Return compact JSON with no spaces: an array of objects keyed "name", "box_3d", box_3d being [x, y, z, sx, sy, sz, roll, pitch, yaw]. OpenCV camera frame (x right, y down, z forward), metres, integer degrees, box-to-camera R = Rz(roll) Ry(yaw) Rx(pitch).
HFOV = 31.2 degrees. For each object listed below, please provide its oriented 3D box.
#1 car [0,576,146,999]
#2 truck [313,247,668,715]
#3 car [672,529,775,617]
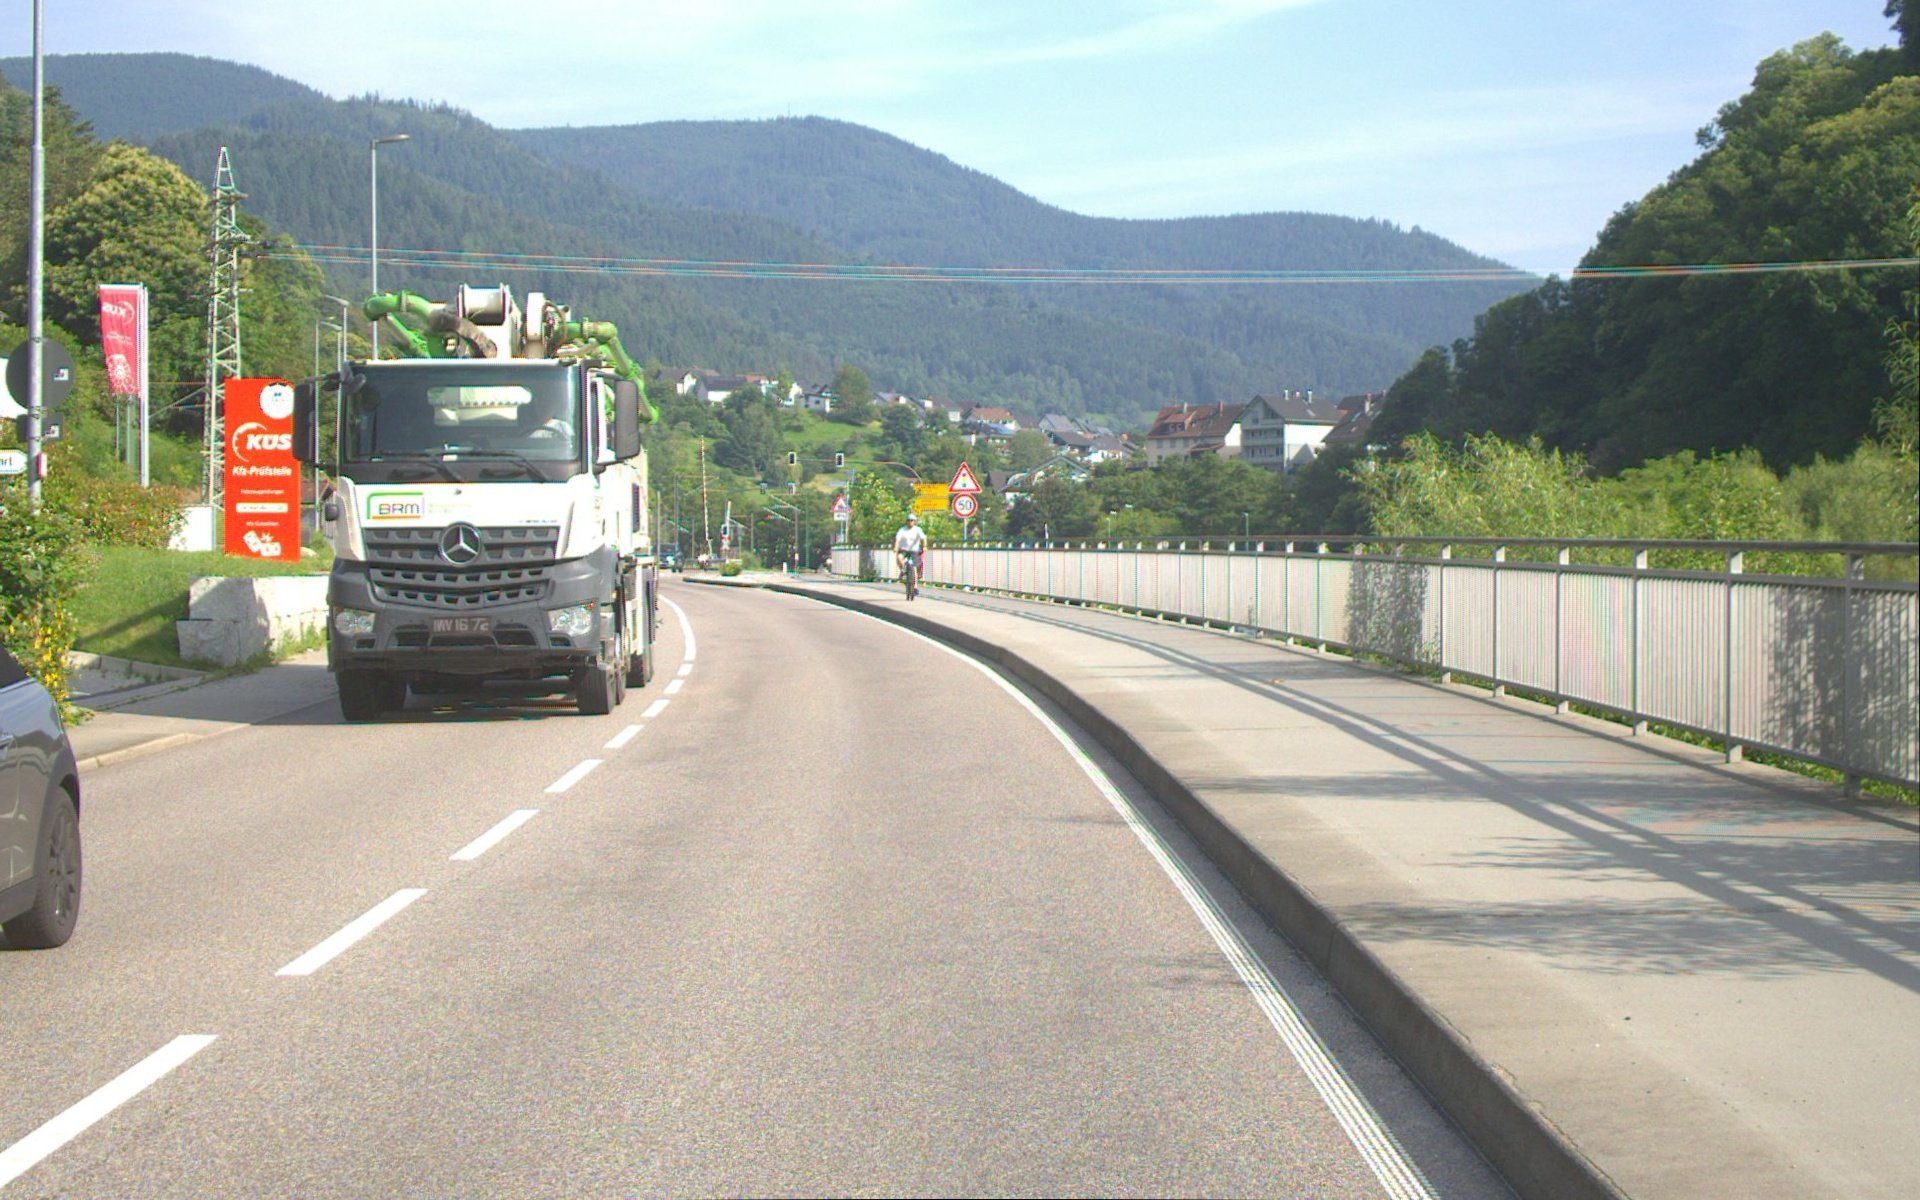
[{"name":"car","box_3d":[-4.054,0.626,11.608,1.713,1.398,4.000,0,1,-1]},{"name":"truck","box_3d":[-4.429,-1.089,34.605,2.578,3.918,11.307,-1,1,-3]},{"name":"car","box_3d":[-4.237,-0.510,62.084,1.749,1.499,4.191,-1,1,-3]}]
